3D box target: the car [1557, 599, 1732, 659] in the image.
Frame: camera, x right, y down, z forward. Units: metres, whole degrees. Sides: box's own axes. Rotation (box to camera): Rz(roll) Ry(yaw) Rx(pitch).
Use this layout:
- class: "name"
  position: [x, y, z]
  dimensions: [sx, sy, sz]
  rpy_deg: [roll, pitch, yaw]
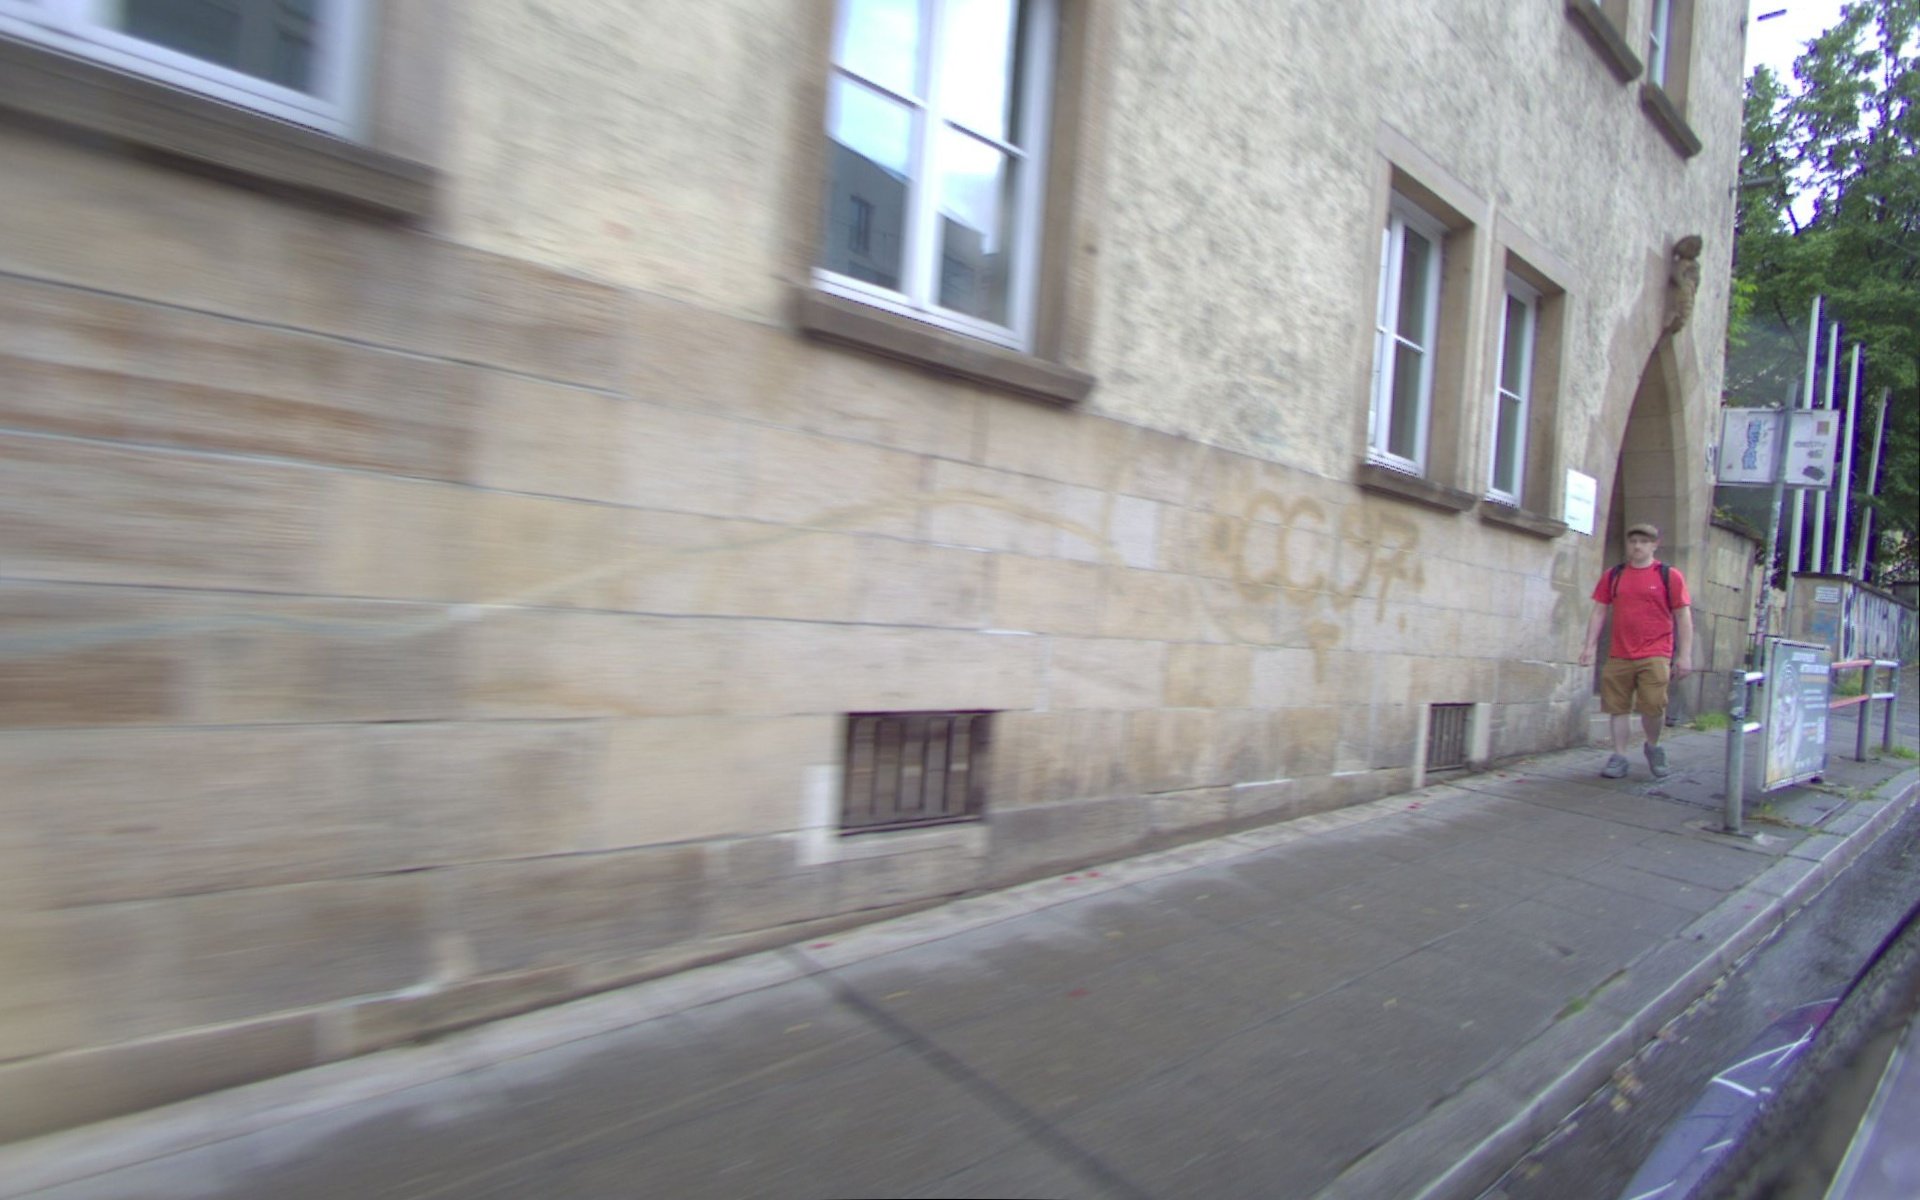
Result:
- class: "car"
  position: [22.706, 0.887, 33.759]
  dimensions: [1.786, 1.801, 4.539]
  rpy_deg: [0, 1, -29]

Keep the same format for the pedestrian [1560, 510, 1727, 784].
- class: "pedestrian"
  position: [4.817, 0.295, 7.137]
  dimensions: [0.804, 1.786, 0.748]
  rpy_deg: [0, 2, -41]
